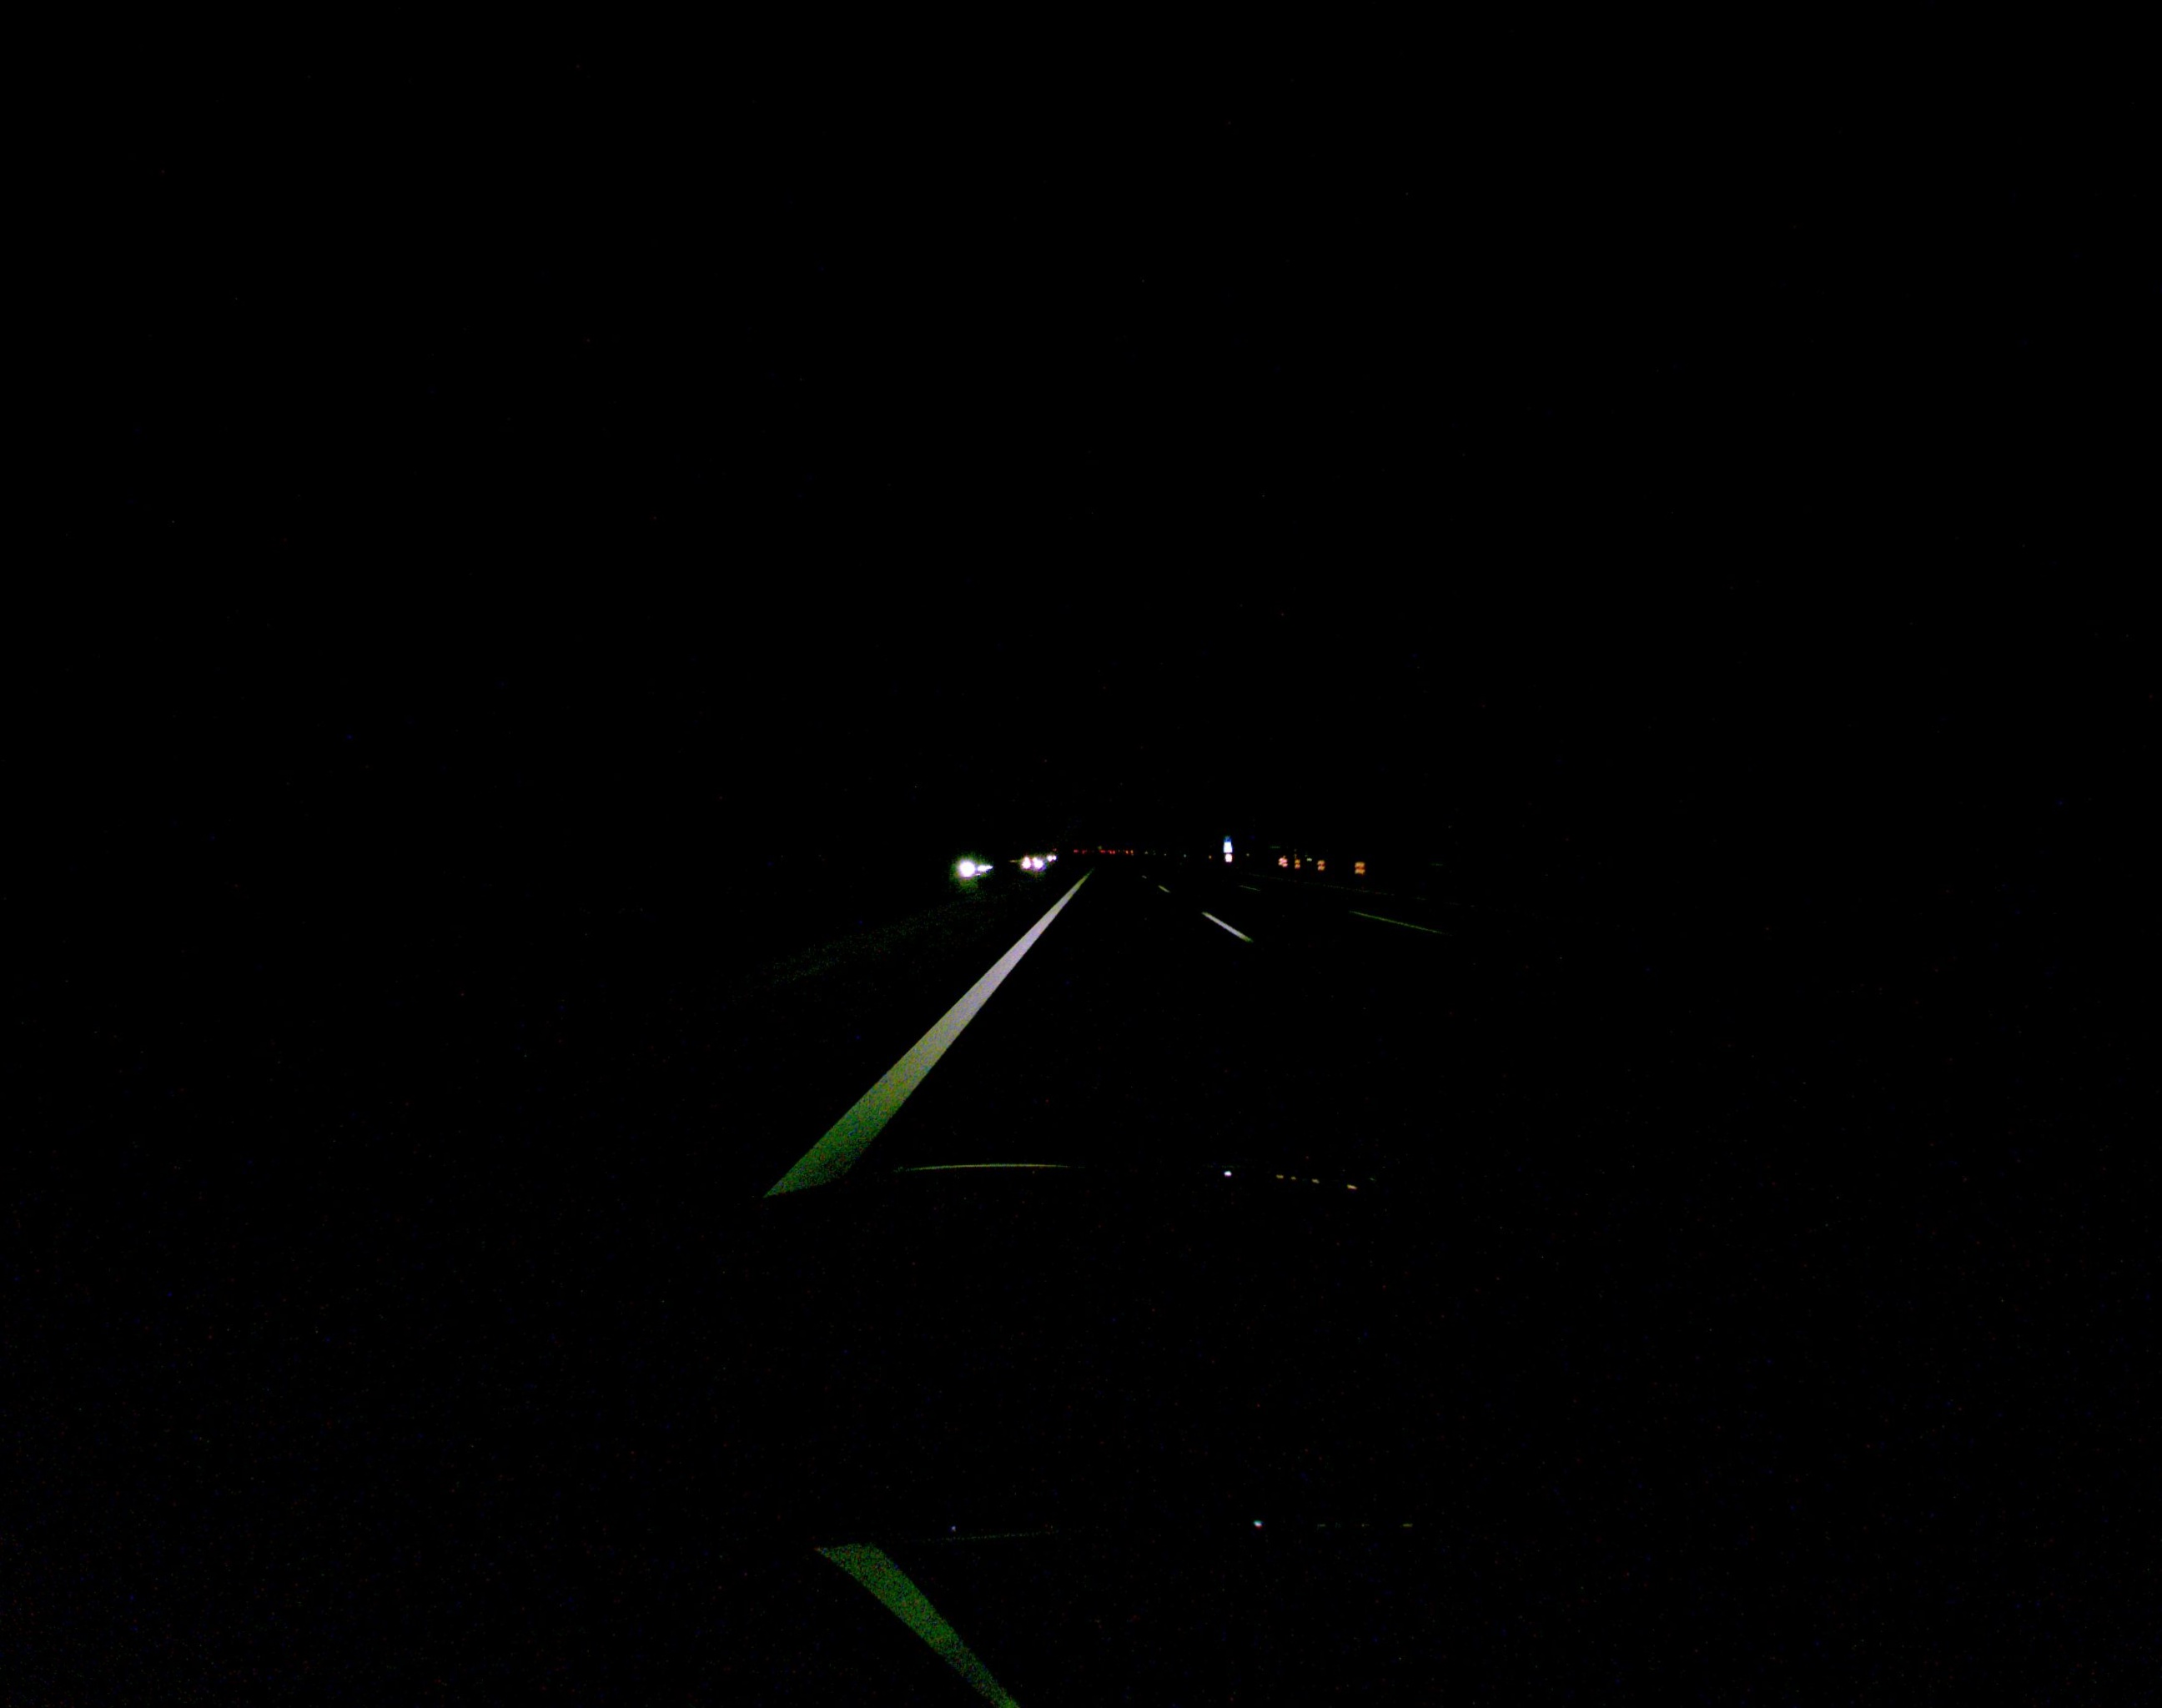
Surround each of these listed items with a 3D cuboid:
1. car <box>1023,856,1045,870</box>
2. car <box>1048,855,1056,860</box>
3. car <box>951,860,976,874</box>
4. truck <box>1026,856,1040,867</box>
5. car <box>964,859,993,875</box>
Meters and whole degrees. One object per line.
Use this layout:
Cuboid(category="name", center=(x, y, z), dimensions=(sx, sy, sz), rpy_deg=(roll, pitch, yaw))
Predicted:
Cuboid(category="car", center=(-5.515, 1.082, 96.584), dimensions=(1.986, 1.461, 4.903), rpy_deg=(-4, 0, 2))
Cuboid(category="car", center=(-8.561, 1.068, 239.707), dimensions=(1.986, 1.503, 5.204), rpy_deg=(-3, 0, 2))
Cuboid(category="car", center=(-13.890, 1.515, 96.618), dimensions=(1.986, 1.485, 4.802), rpy_deg=(-3, 0, 2))
Cuboid(category="truck", center=(-9.267, 1.380, 156.271), dimensions=(1.985, 1.942, 5.244), rpy_deg=(-3, -1, 3))
Cuboid(category="car", center=(-9.890, 1.222, 78.956), dimensions=(1.986, 1.394, 5.707), rpy_deg=(-3, 0, 1))
